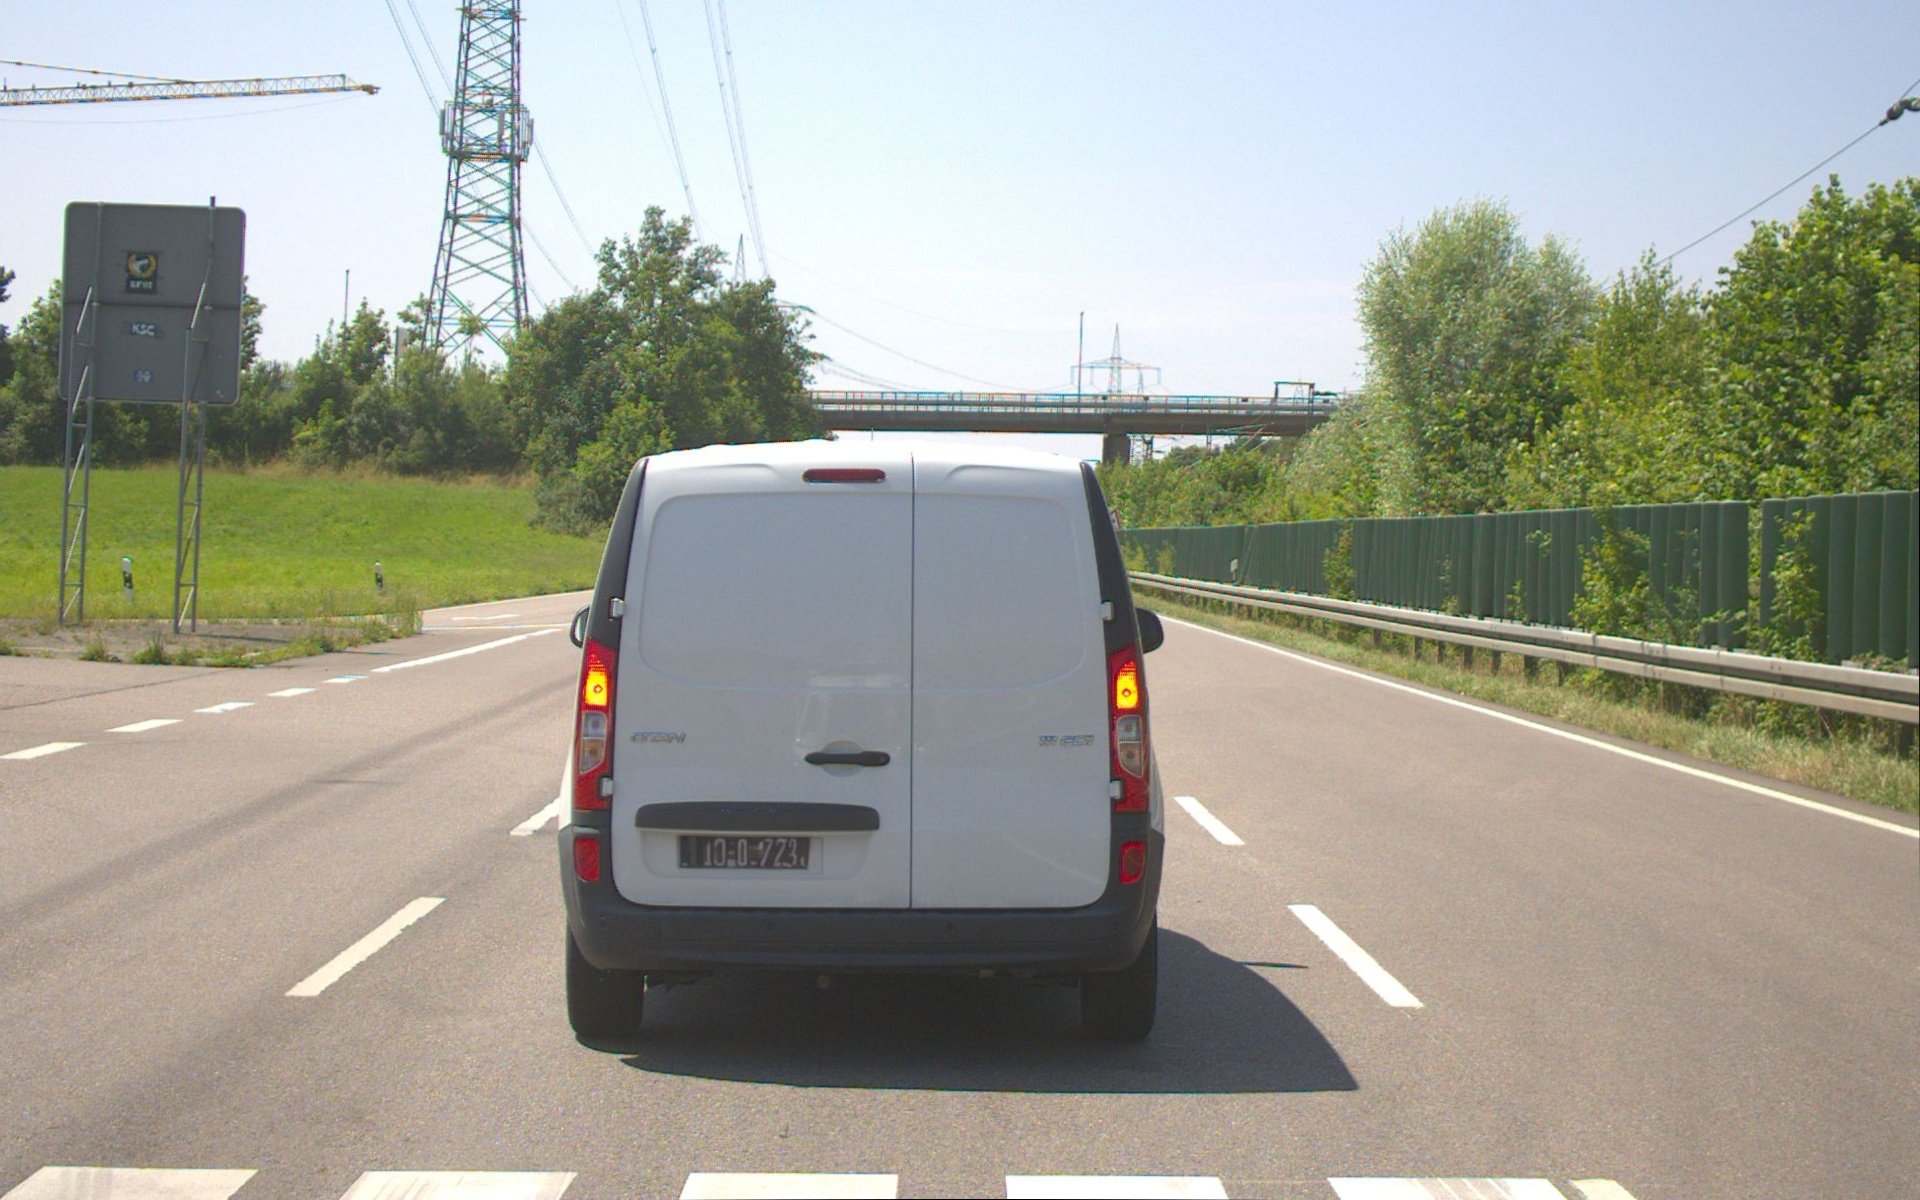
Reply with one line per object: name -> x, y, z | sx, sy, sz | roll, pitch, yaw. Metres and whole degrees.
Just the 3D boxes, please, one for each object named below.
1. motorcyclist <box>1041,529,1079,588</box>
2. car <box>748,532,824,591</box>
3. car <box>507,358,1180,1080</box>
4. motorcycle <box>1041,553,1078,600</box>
motorcyclist -> 2.534, -1.056, 87.028 | 0.889, 1.471, 1.002 | 1, 1, -1
car -> -4.559, -1.030, 90.497 | 1.782, 1.459, 4.000 | 1, 1, -1
car -> -0.350, 0.290, 11.445 | 1.827, 1.964, 4.000 | 1, 1, -1
motorcycle -> 2.511, -0.597, 86.925 | 0.790, 1.153, 1.901 | 1, 1, -2
